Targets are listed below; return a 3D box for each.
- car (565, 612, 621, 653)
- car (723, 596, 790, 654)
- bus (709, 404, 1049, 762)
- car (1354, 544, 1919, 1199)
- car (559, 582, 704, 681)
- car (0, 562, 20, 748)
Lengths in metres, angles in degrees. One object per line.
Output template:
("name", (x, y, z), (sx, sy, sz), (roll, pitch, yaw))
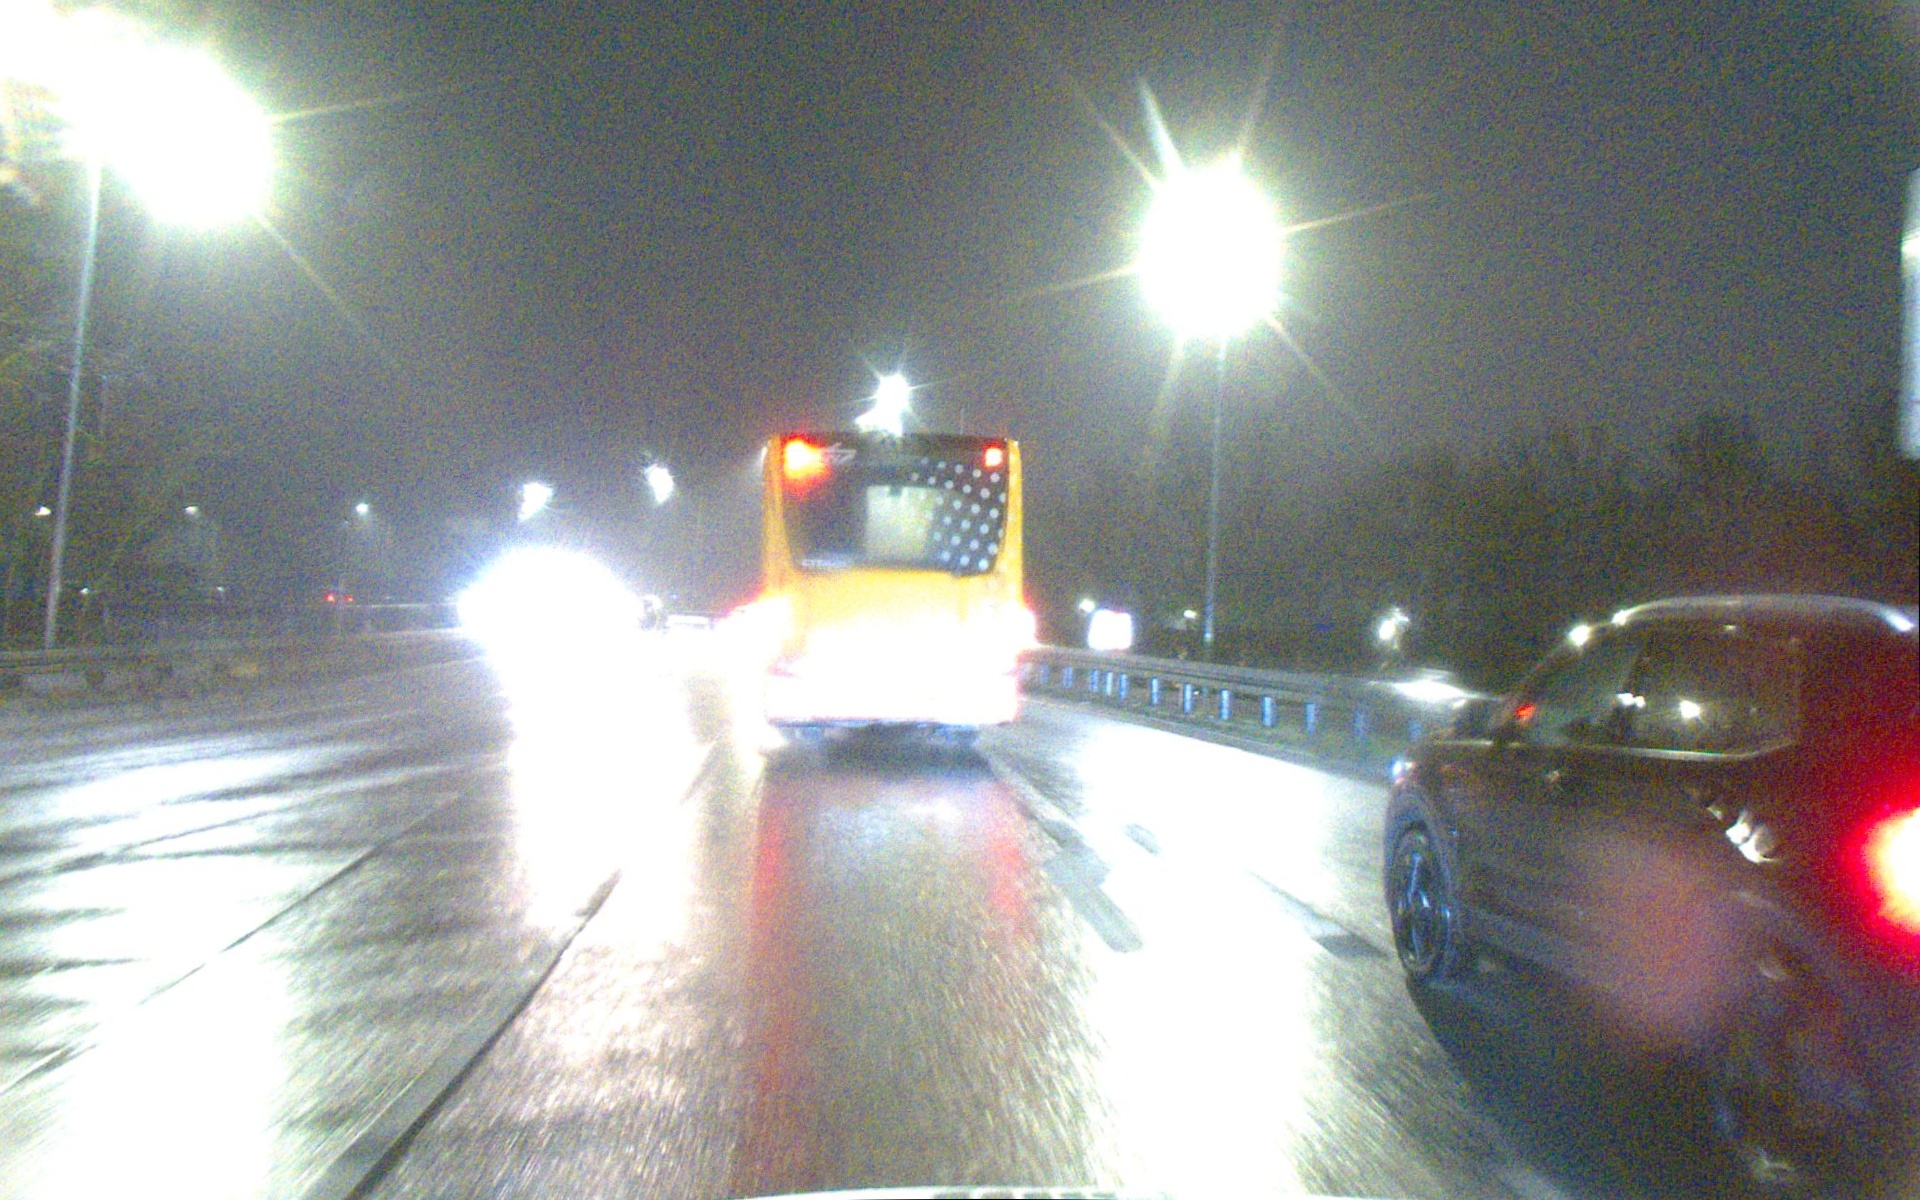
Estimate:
("car", (-14.794, 1.295, 66.901), (1.732, 1.544, 3.943), (1, 0, -6))
("car", (-7.619, 0.897, 61.711), (1.960, 2.049, 3.985), (2, 0, -14))
("bus", (-1.172, -0.162, 21.378), (3.023, 3.187, 12.686), (1, 0, -4))
("car", (2.867, 0.708, 5.565), (1.820, 1.614, 3.995), (0, -1, -5))
("car", (-6.164, 0.568, 31.585), (1.959, 1.704, 4.615), (2, 0, -2))
("car", (-9.536, 0.487, 12.417), (1.943, 1.633, 4.836), (0, 0, 4))
